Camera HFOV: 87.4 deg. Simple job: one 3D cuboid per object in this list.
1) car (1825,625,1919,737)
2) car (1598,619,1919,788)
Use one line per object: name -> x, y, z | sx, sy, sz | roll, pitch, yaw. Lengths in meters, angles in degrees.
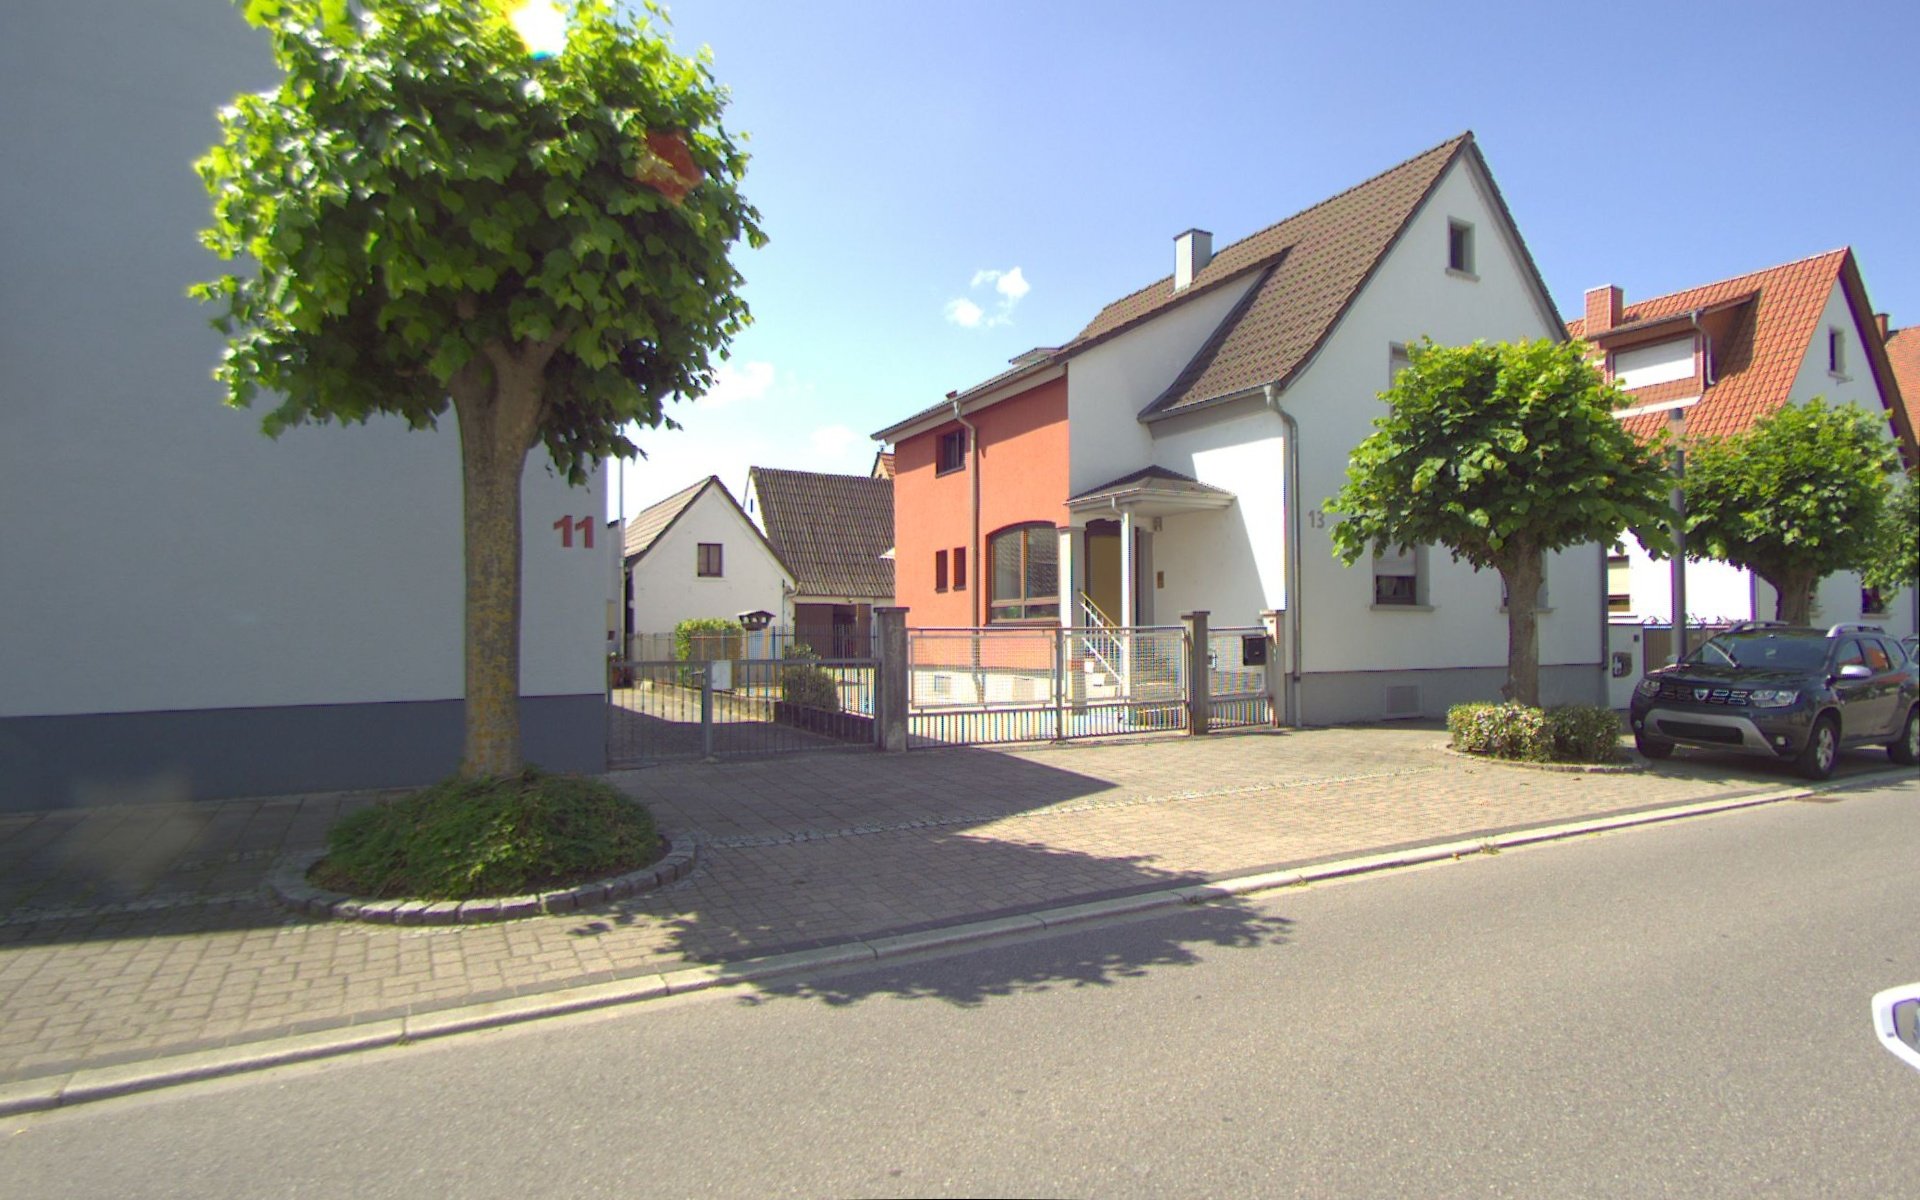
car -> 16.031, 1.271, 16.204 | 4.320, 1.634, 1.844 | 2, 0, -30
car -> 9.816, 1.093, 12.128 | 4.248, 1.658, 1.844 | 0, 1, -30
